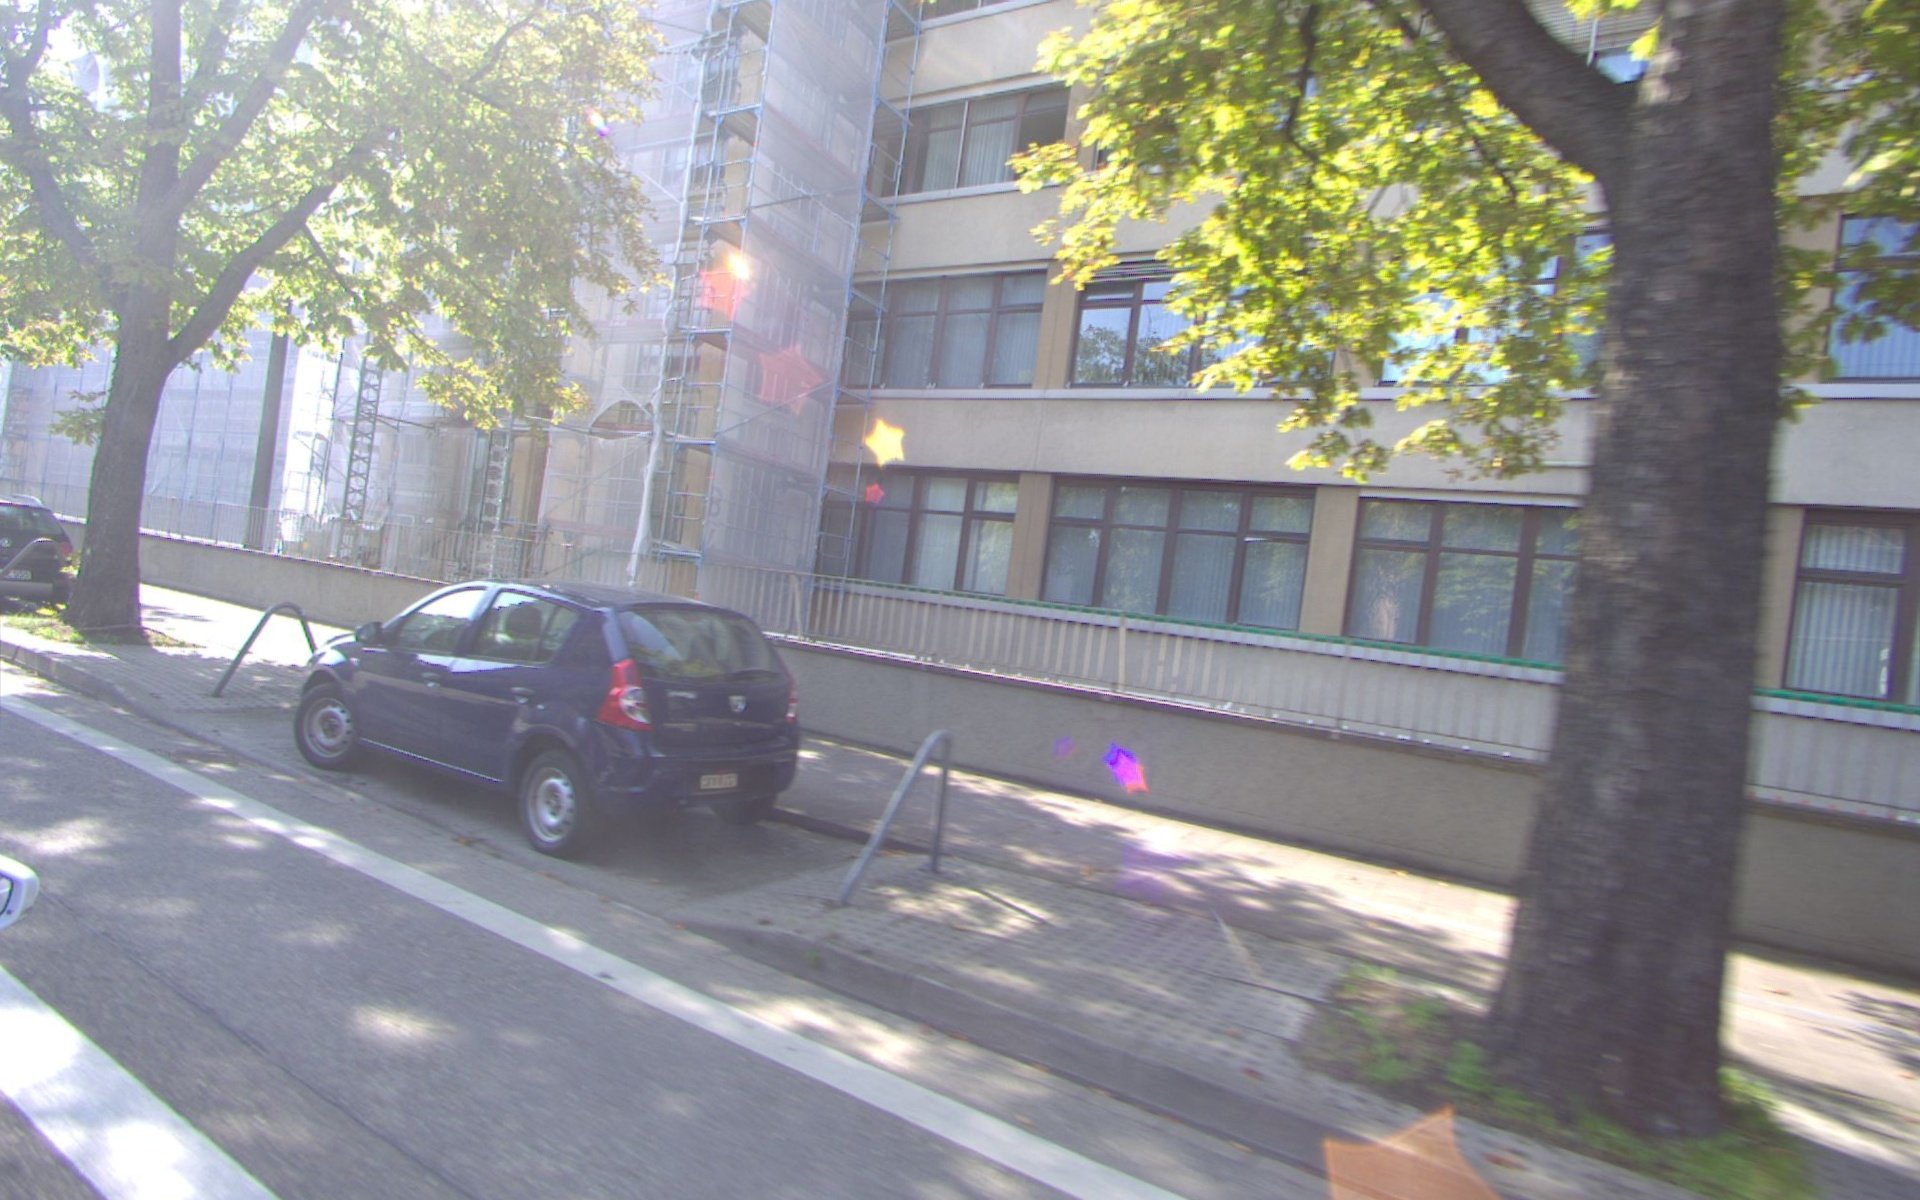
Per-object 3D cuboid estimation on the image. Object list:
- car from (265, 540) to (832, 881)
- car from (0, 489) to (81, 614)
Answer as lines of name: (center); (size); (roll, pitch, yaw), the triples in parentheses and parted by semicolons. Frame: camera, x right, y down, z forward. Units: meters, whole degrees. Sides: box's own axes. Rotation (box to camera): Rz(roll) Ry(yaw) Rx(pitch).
car: (-2.920, 0.576, 6.935); (3.715, 1.530, 1.648); (7, 0, 32)
car: (-13.694, -0.812, 13.652); (3.676, 1.503, 1.577); (8, 1, 32)
